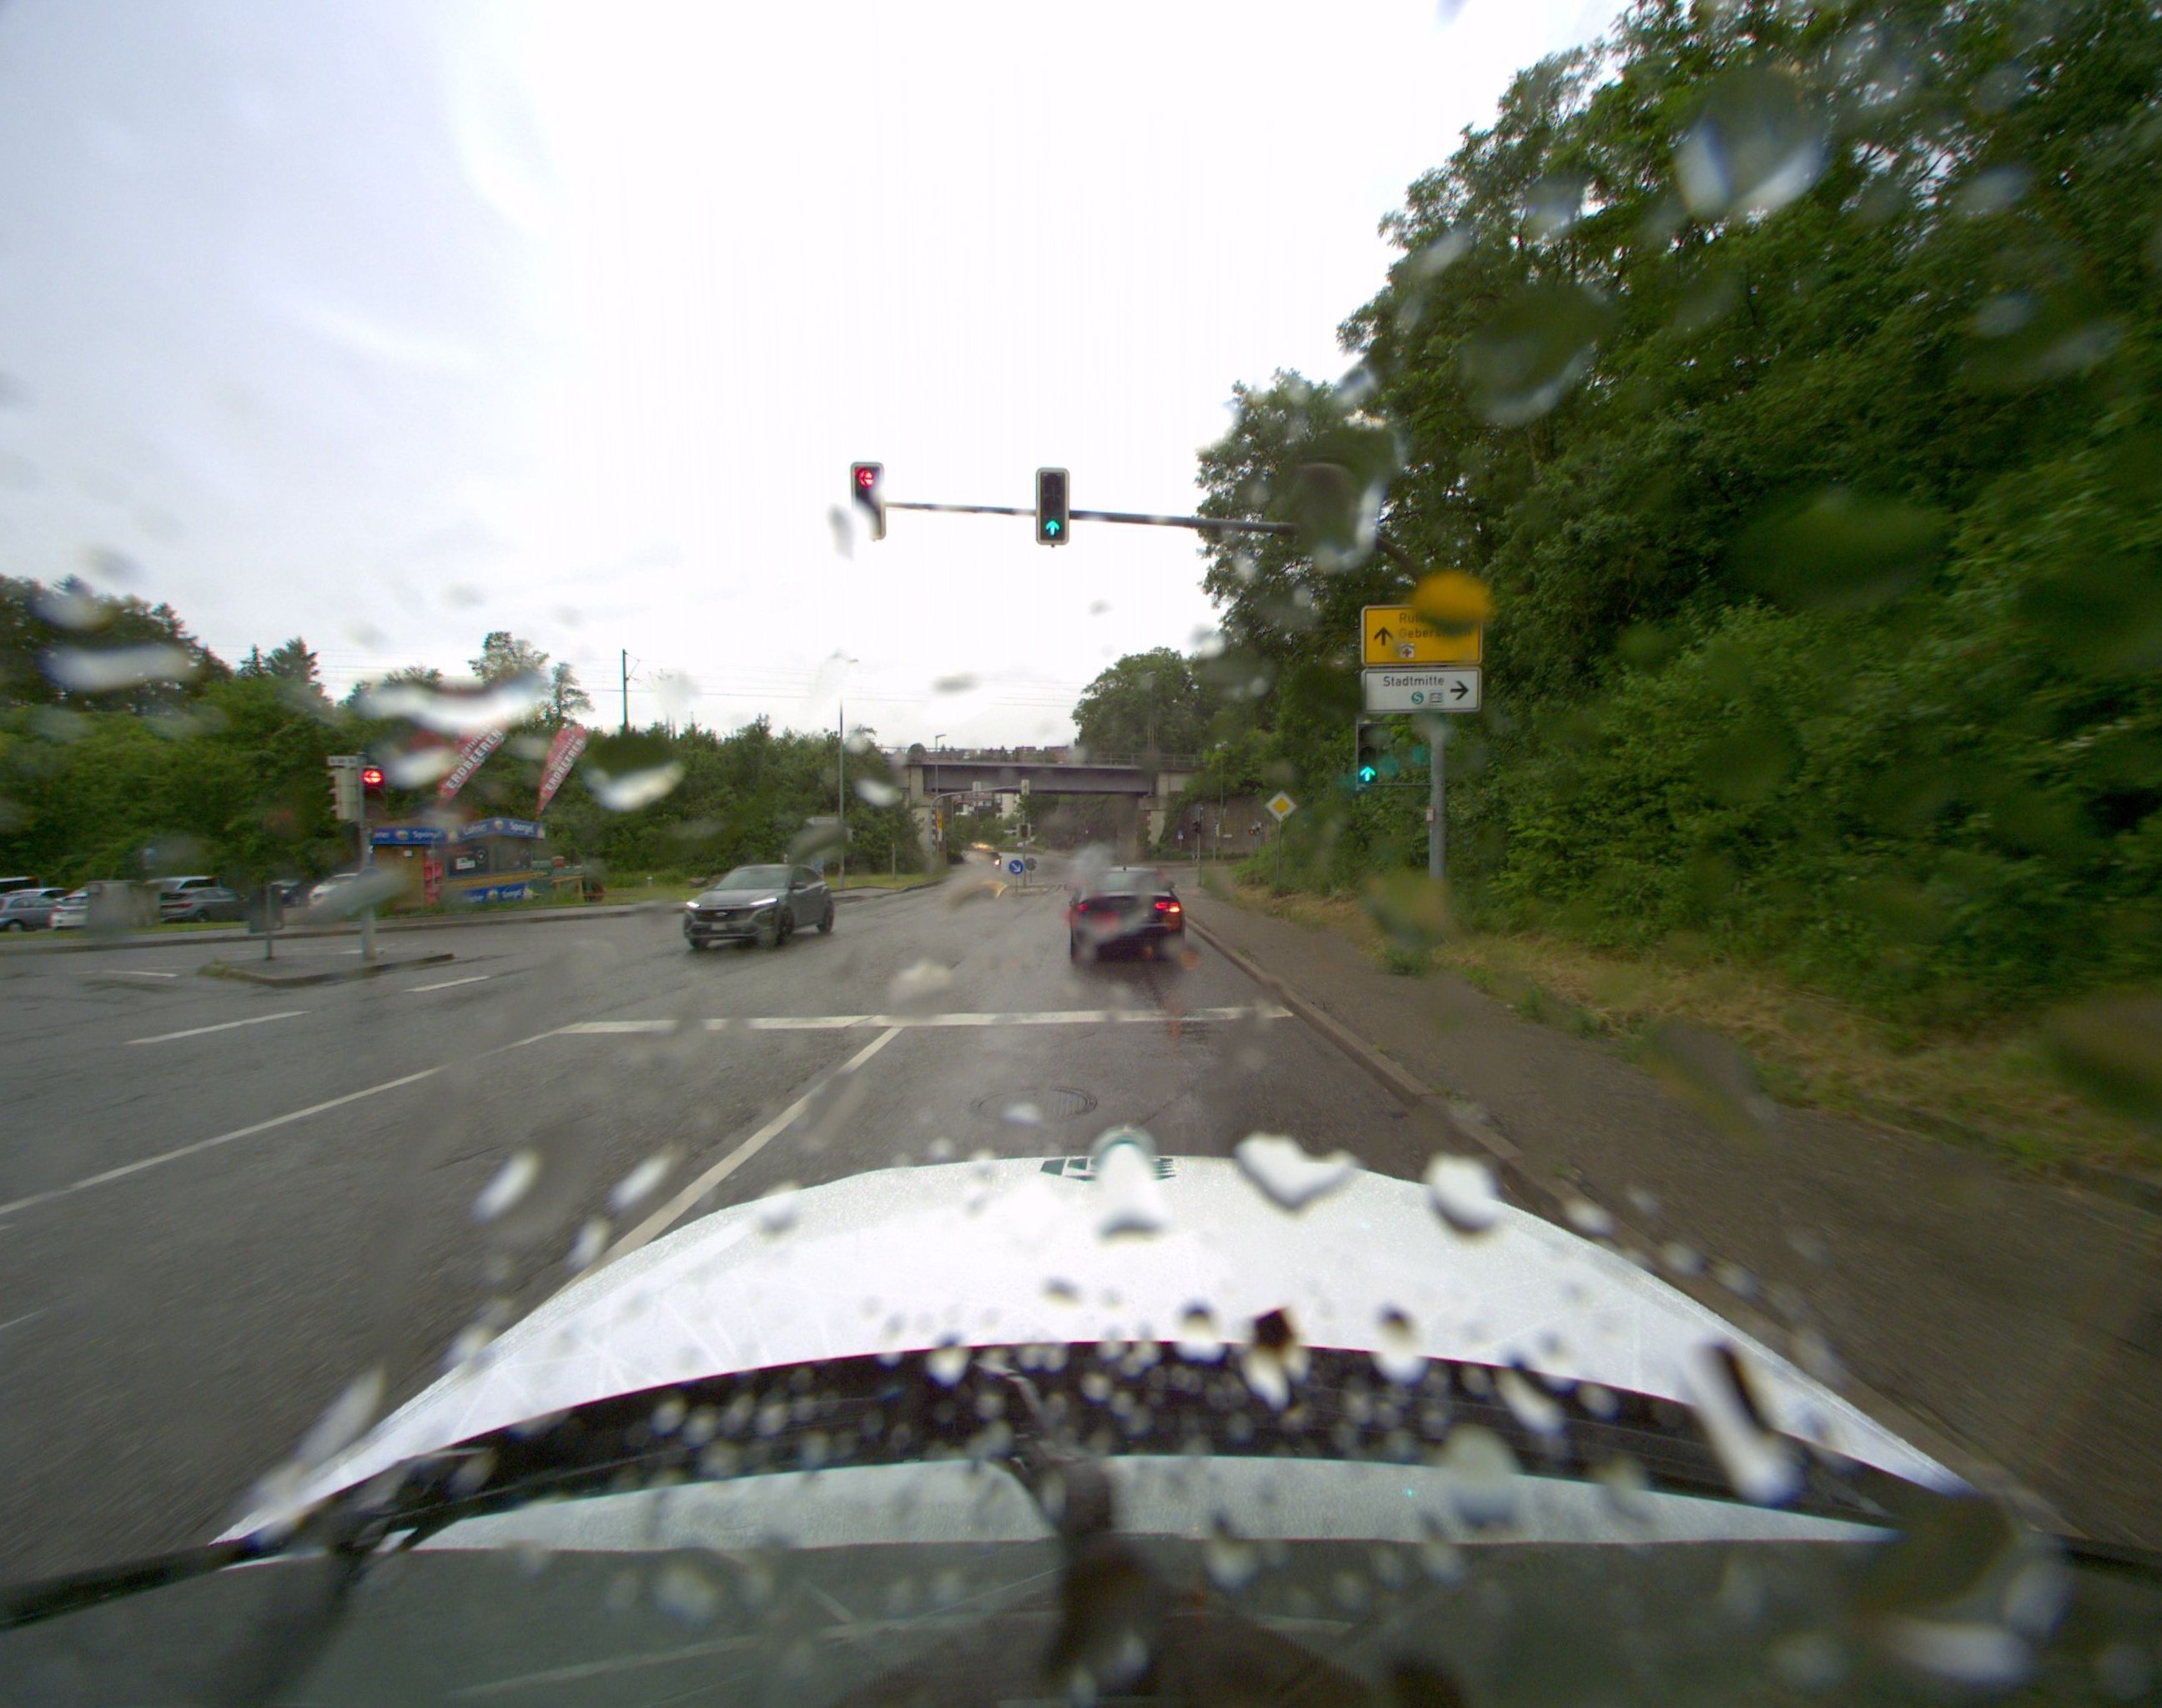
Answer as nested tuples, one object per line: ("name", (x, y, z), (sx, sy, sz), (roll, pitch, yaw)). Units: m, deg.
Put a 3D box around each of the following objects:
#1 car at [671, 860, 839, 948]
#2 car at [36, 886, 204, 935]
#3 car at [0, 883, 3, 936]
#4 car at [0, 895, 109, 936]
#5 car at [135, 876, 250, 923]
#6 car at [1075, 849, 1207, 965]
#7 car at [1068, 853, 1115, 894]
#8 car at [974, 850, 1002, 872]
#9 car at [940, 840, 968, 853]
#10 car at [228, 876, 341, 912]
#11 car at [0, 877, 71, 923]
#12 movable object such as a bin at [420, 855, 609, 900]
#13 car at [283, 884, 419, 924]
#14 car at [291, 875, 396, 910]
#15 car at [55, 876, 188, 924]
("car", (-6.359, 0.892, 16.378), (1.633, 1.470, 4.001), (-2, 0, 1))
("car", (-34.987, 2.001, 29.849), (1.937, 1.585, 3.891), (-1, -1, -11))
("car", (-39.790, 1.986, 27.528), (1.997, 1.949, 3.978), (-1, -1, -16))
("car", (-37.511, 2.173, 28.873), (1.751, 1.310, 3.984), (-1, -1, -11))
("car", (-42.528, 2.142, 39.122), (1.941, 2.014, 3.848), (-1, 0, -15))
("car", (0.916, 0.807, 13.658), (1.863, 1.617, 4.001), (-1, -1, 2))
("car", (0.472, 0.804, 34.428), (1.816, 1.585, 4.001), (-1, -1, 2))
("car", (-7.358, 0.525, 64.766), (1.990, 1.628, 3.993), (-2, 0, -5))
("car", (-17.409, -1.036, 111.417), (2.011, 1.595, 3.953), (-2, 3, -41))
("car", (-38.311, 1.872, 39.311), (1.994, 1.585, 3.984), (-1, -1, -11))
("car", (-49.686, 2.117, 37.457), (1.997, 2.013, 3.980), (-1, 0, -14))
("movable object such as a bin", (-22.853, 0.902, 33.046), (2.716, 1.628, 5.816), (-2, -2, 41))
("car", (-28.144, 1.879, 31.632), (1.652, 1.340, 4.883), (-1, -1, -11))
("car", (-35.708, 1.820, 39.595), (1.994, 1.585, 3.984), (-1, -1, -11))
("car", (-45.128, 2.097, 38.442), (1.995, 2.013, 3.983), (-2, 0, -12))
